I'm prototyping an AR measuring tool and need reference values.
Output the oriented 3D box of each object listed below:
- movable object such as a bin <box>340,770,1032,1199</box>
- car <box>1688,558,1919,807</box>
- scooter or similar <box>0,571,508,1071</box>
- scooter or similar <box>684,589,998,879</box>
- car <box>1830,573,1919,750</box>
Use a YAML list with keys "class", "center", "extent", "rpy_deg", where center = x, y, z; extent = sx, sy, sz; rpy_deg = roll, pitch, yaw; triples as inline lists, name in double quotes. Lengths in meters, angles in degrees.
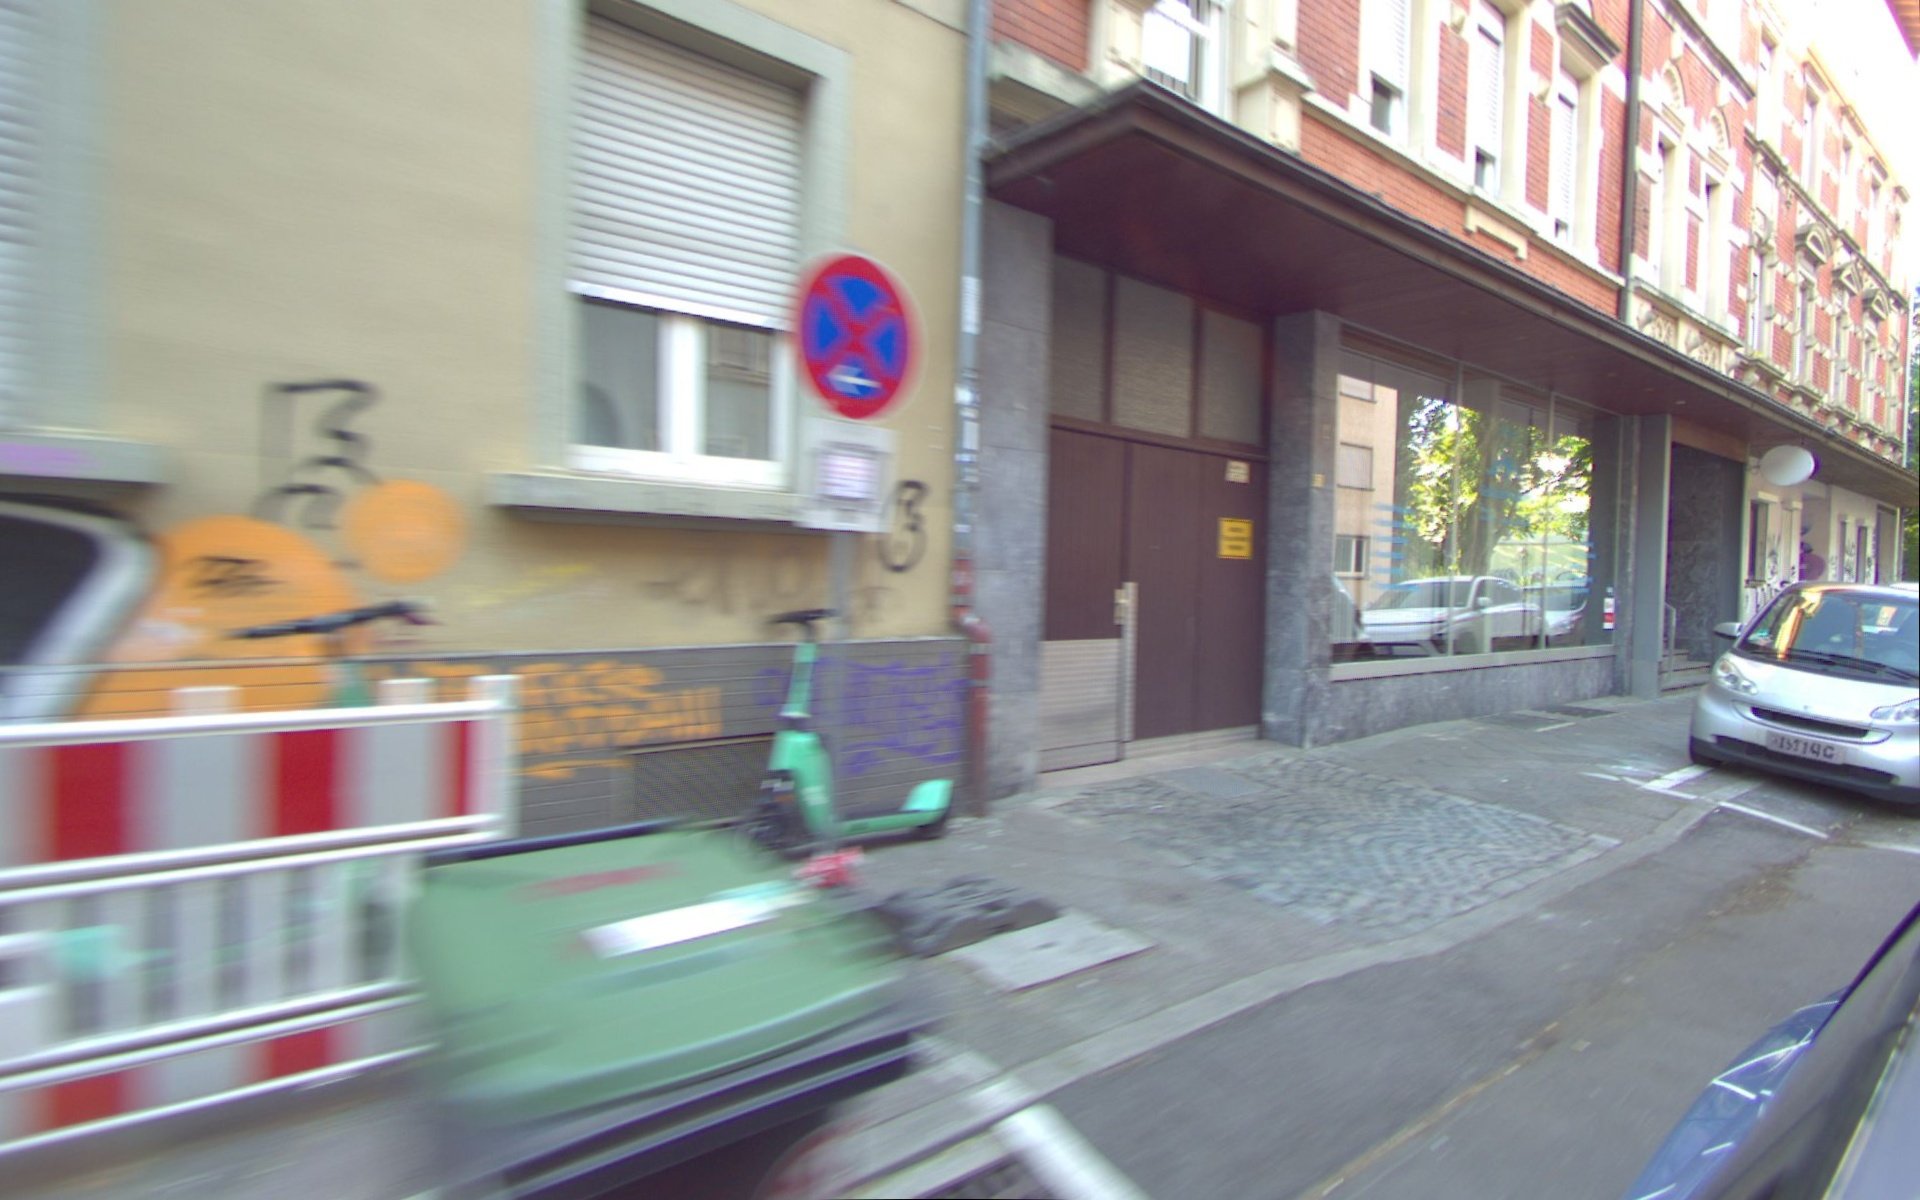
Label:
- class: "movable object such as a bin"
  center: [-0.411, 0.870, 1.394]
  extent: [0.675, 1.070, 0.742]
  rpy_deg: [0, 2, -39]
- class: "car"
  center: [7.470, 0.537, 8.227]
  extent: [3.401, 1.552, 1.527]
  rpy_deg: [0, 7, -39]
- class: "scooter or similar"
  center: [-2.202, 0.540, 3.100]
  extent: [0.454, 1.224, 1.424]
  rpy_deg: [6, 5, 38]
- class: "scooter or similar"
  center: [-0.511, 0.541, 4.703]
  extent: [1.418, 1.157, 0.389]
  rpy_deg: [0, 5, -40]
- class: "car"
  center: [10.730, 0.569, 10.710]
  extent: [3.987, 1.683, 1.603]
  rpy_deg: [0, -1, -39]
